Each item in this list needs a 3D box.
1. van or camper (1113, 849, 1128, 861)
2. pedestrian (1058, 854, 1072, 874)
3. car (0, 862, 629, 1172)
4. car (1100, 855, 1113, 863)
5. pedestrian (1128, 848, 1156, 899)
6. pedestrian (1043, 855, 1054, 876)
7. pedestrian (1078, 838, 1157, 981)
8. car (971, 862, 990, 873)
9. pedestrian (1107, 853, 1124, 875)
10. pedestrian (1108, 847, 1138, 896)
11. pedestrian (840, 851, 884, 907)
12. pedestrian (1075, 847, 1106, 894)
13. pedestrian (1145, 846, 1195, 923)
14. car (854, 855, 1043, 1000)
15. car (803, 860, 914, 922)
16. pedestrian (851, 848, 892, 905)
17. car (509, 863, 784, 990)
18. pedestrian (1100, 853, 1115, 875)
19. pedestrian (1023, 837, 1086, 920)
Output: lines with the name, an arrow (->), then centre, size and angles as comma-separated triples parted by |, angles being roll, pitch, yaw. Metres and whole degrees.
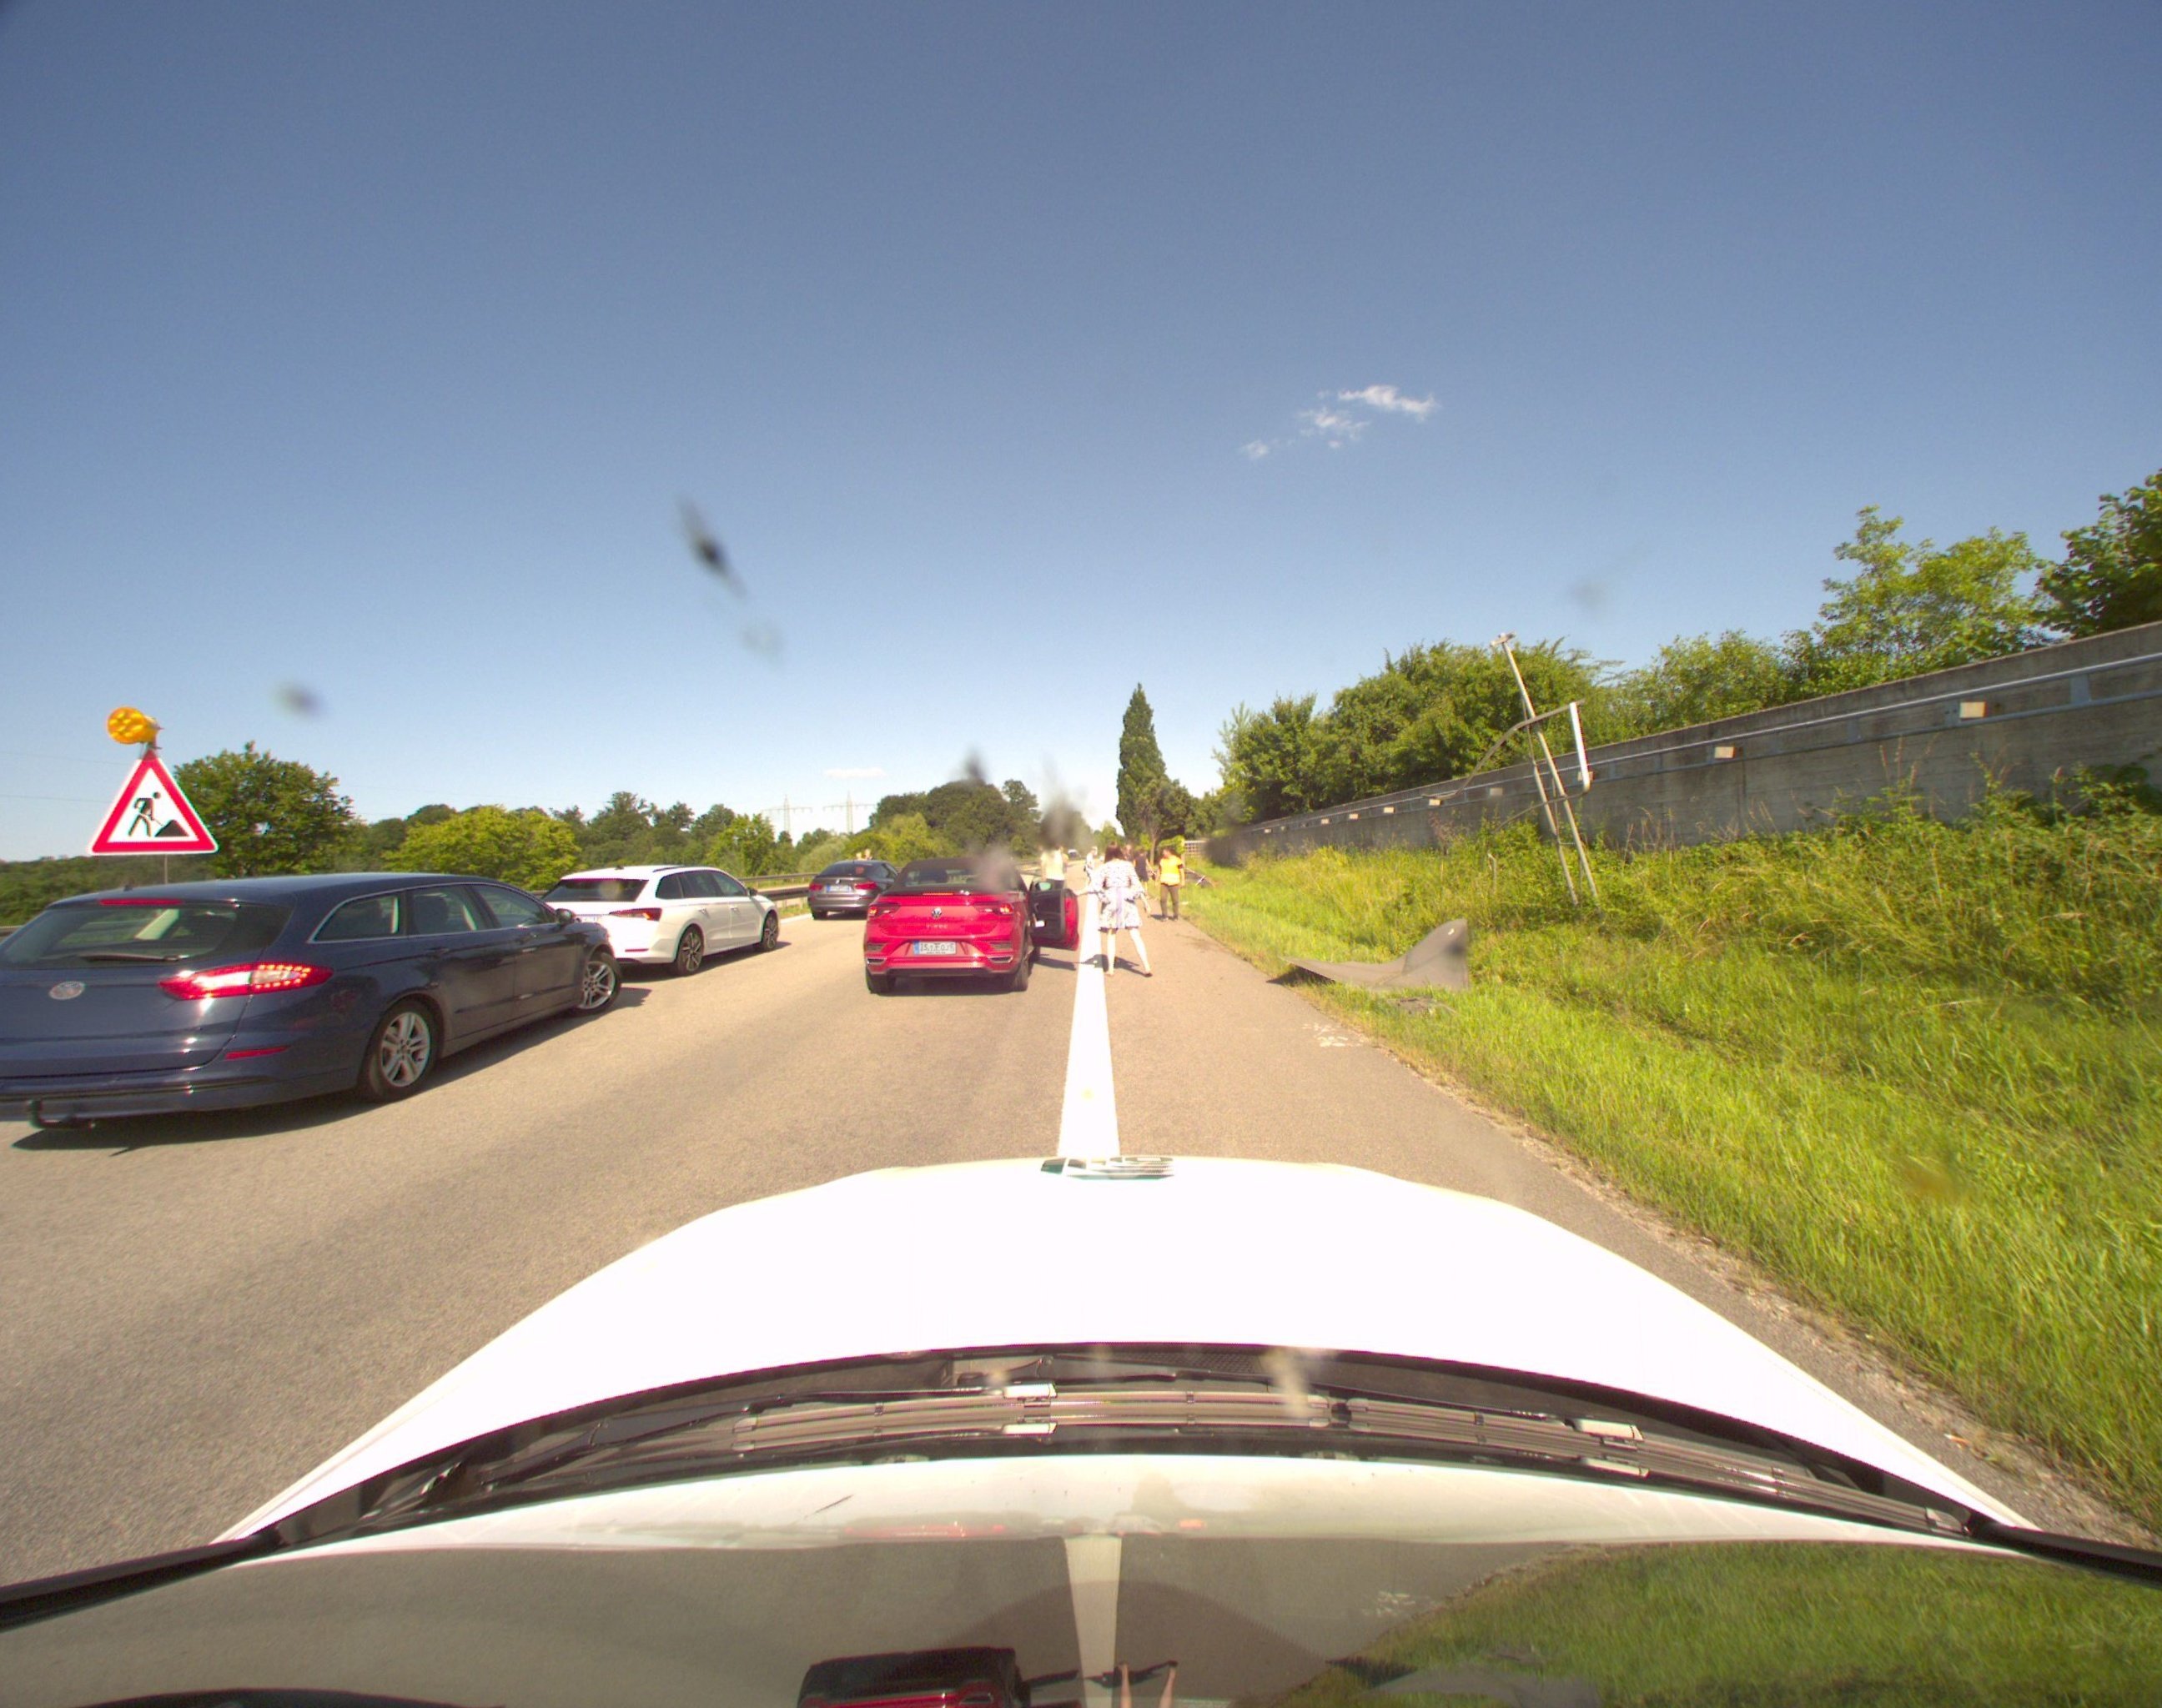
van or camper -> 7.887, 0.135, 162.515 | 1.977, 2.316, 4.491 | -1, -1, 18
pedestrian -> -1.347, 0.875, 70.274 | 1.050, 1.689, 1.019 | -1, -1, 7
car -> -5.416, 0.849, 6.347 | 1.787, 1.493, 4.480 | -2, 0, -8
car -> 5.283, 0.995, 169.343 | 1.719, 1.487, 4.229 | -1, 0, 17
pedestrian -> 2.104, 0.665, 28.209 | 0.892, 1.725, 0.754 | 0, -1, -2
pedestrian -> -2.651, 0.916, 65.773 | 0.788, 1.689, 0.793 | -1, -1, 5
pedestrian -> 0.455, 0.668, 10.383 | 0.886, 1.695, 1.129 | -2, 0, 1
car -> -13.380, 1.803, 108.361 | 1.687, 1.426, 4.308 | -1, 0, 3
pedestrian -> 2.626, 0.762, 62.601 | 1.010, 1.689, 0.993 | 0, -1, -20
pedestrian -> 1.540, 0.645, 29.786 | 0.818, 1.759, 0.818 | -1, -1, 22
pedestrian -> -7.206, 0.810, 26.846 | 1.111, 1.763, 1.044 | -2, 0, -1
pedestrian -> 0.373, 0.639, 31.715 | 1.082, 1.789, 1.109 | -1, -1, 6
pedestrian -> 2.016, 0.678, 18.649 | 0.954, 1.653, 1.278 | -2, 0, 0
car -> -1.482, 0.772, 10.616 | 1.727, 1.487, 4.210 | -1, 0, 0
car -> -5.713, 0.894, 21.486 | 1.689, 1.426, 4.334 | -1, 0, 0
pedestrian -> -7.159, 0.757, 27.836 | 1.062, 1.883, 1.093 | -2, 0, 0
car -> -5.947, 0.888, 11.822 | 1.689, 1.441, 4.210 | -1, 0, 0
pedestrian -> 2.040, 0.744, 63.116 | 1.109, 1.689, 0.974 | -1, -1, 2
pedestrian -> -0.623, 0.582, 19.701 | 1.245, 1.912, 1.112 | -2, 0, 10
